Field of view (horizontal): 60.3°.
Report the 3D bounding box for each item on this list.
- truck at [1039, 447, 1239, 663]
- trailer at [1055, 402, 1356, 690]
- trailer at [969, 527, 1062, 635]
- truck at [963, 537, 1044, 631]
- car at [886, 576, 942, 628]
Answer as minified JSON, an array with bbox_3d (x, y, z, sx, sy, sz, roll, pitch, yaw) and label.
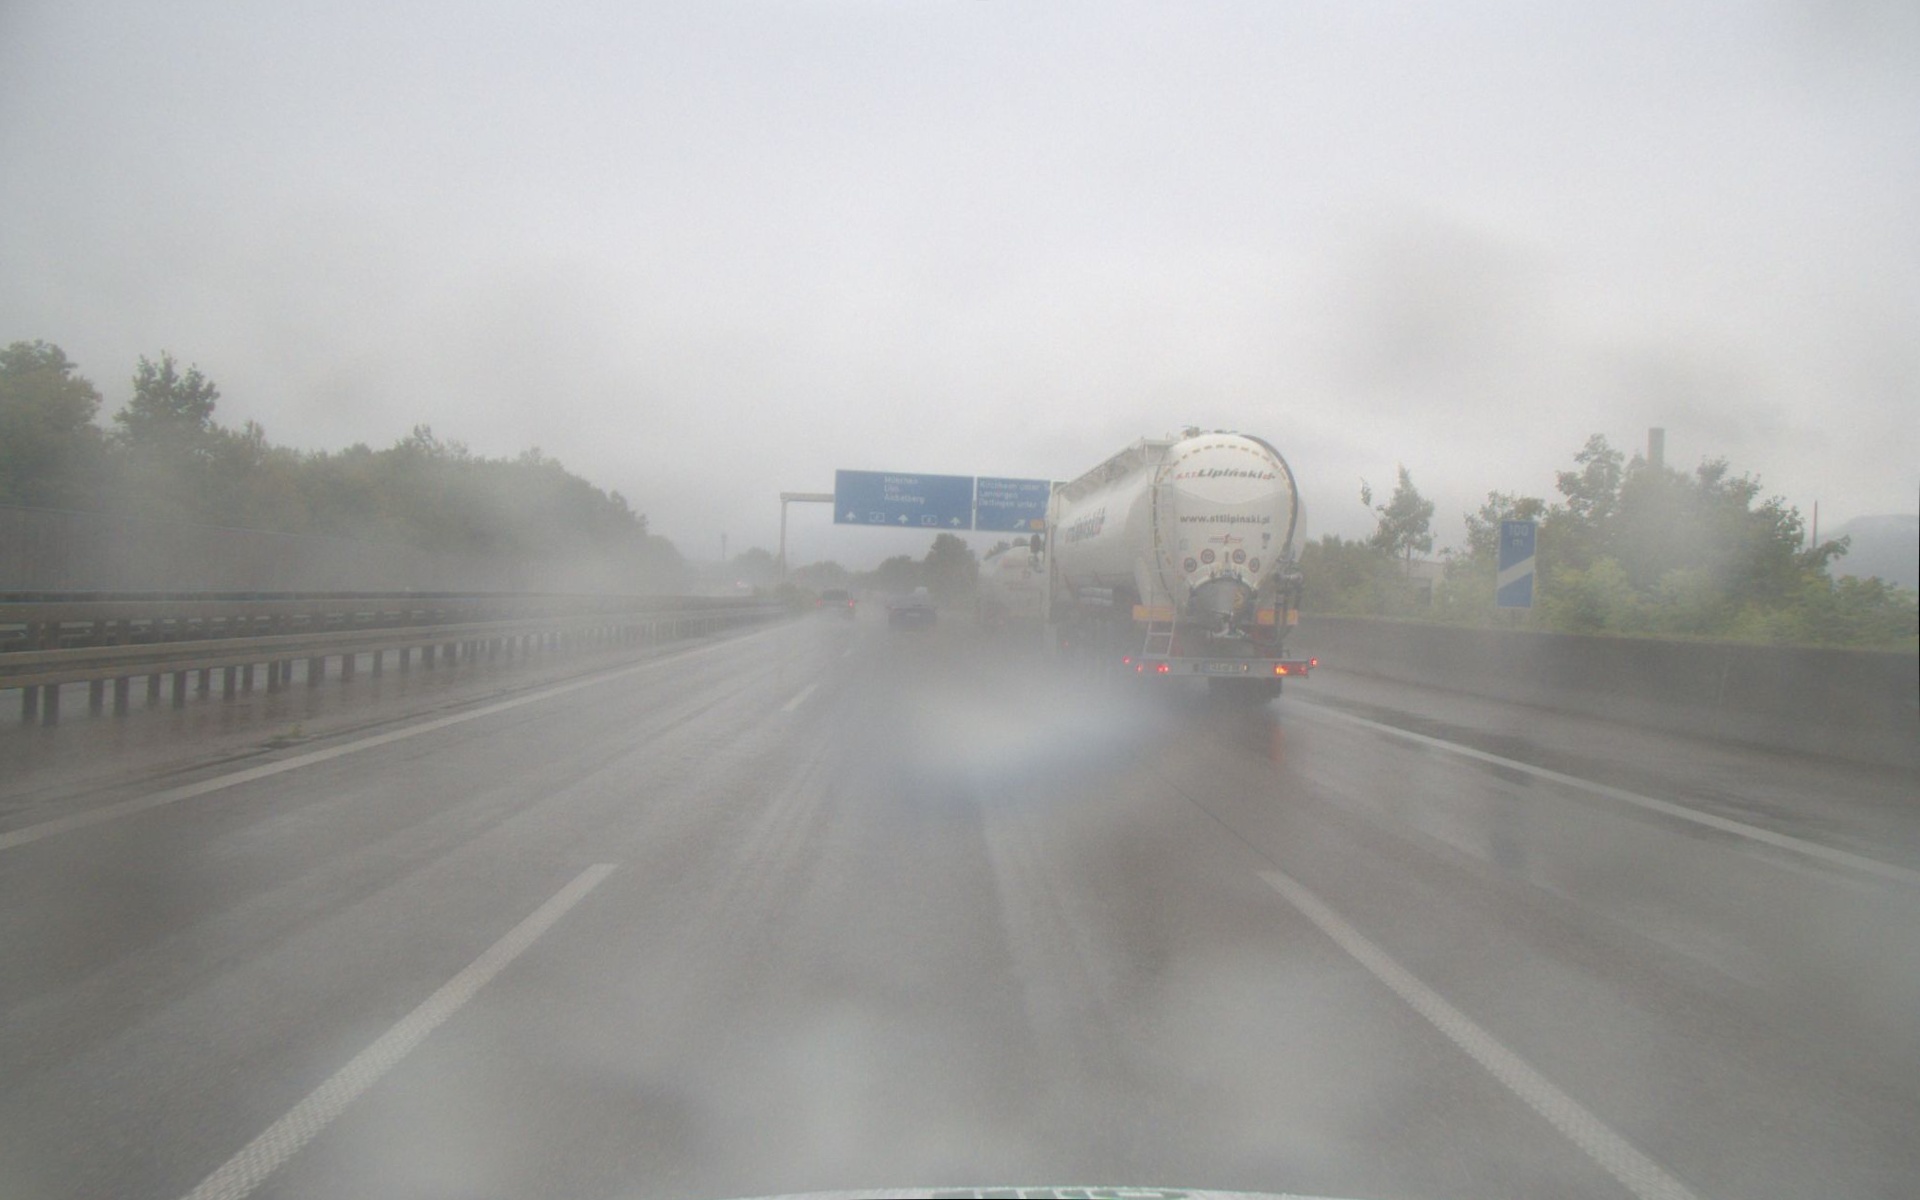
[{"bbox_3d":[3.456,-0.859,33.886,3.042,3.873,7.210,1,0,-2],"label":"truck"},{"bbox_3d":[3.586,-0.770,27.710,3.123,3.734,11.665,1,0,-1],"label":"trailer"},{"bbox_3d":[2.064,-0.718,64.965,2.944,3.915,8.619,1,0,-3],"label":"trailer"},{"bbox_3d":[1.773,-0.660,69.962,2.885,3.748,6.357,1,0,-3],"label":"truck"},{"bbox_3d":[-1.663,0.062,60.458,1.938,1.787,4.480,1,0,-1],"label":"car"}]
